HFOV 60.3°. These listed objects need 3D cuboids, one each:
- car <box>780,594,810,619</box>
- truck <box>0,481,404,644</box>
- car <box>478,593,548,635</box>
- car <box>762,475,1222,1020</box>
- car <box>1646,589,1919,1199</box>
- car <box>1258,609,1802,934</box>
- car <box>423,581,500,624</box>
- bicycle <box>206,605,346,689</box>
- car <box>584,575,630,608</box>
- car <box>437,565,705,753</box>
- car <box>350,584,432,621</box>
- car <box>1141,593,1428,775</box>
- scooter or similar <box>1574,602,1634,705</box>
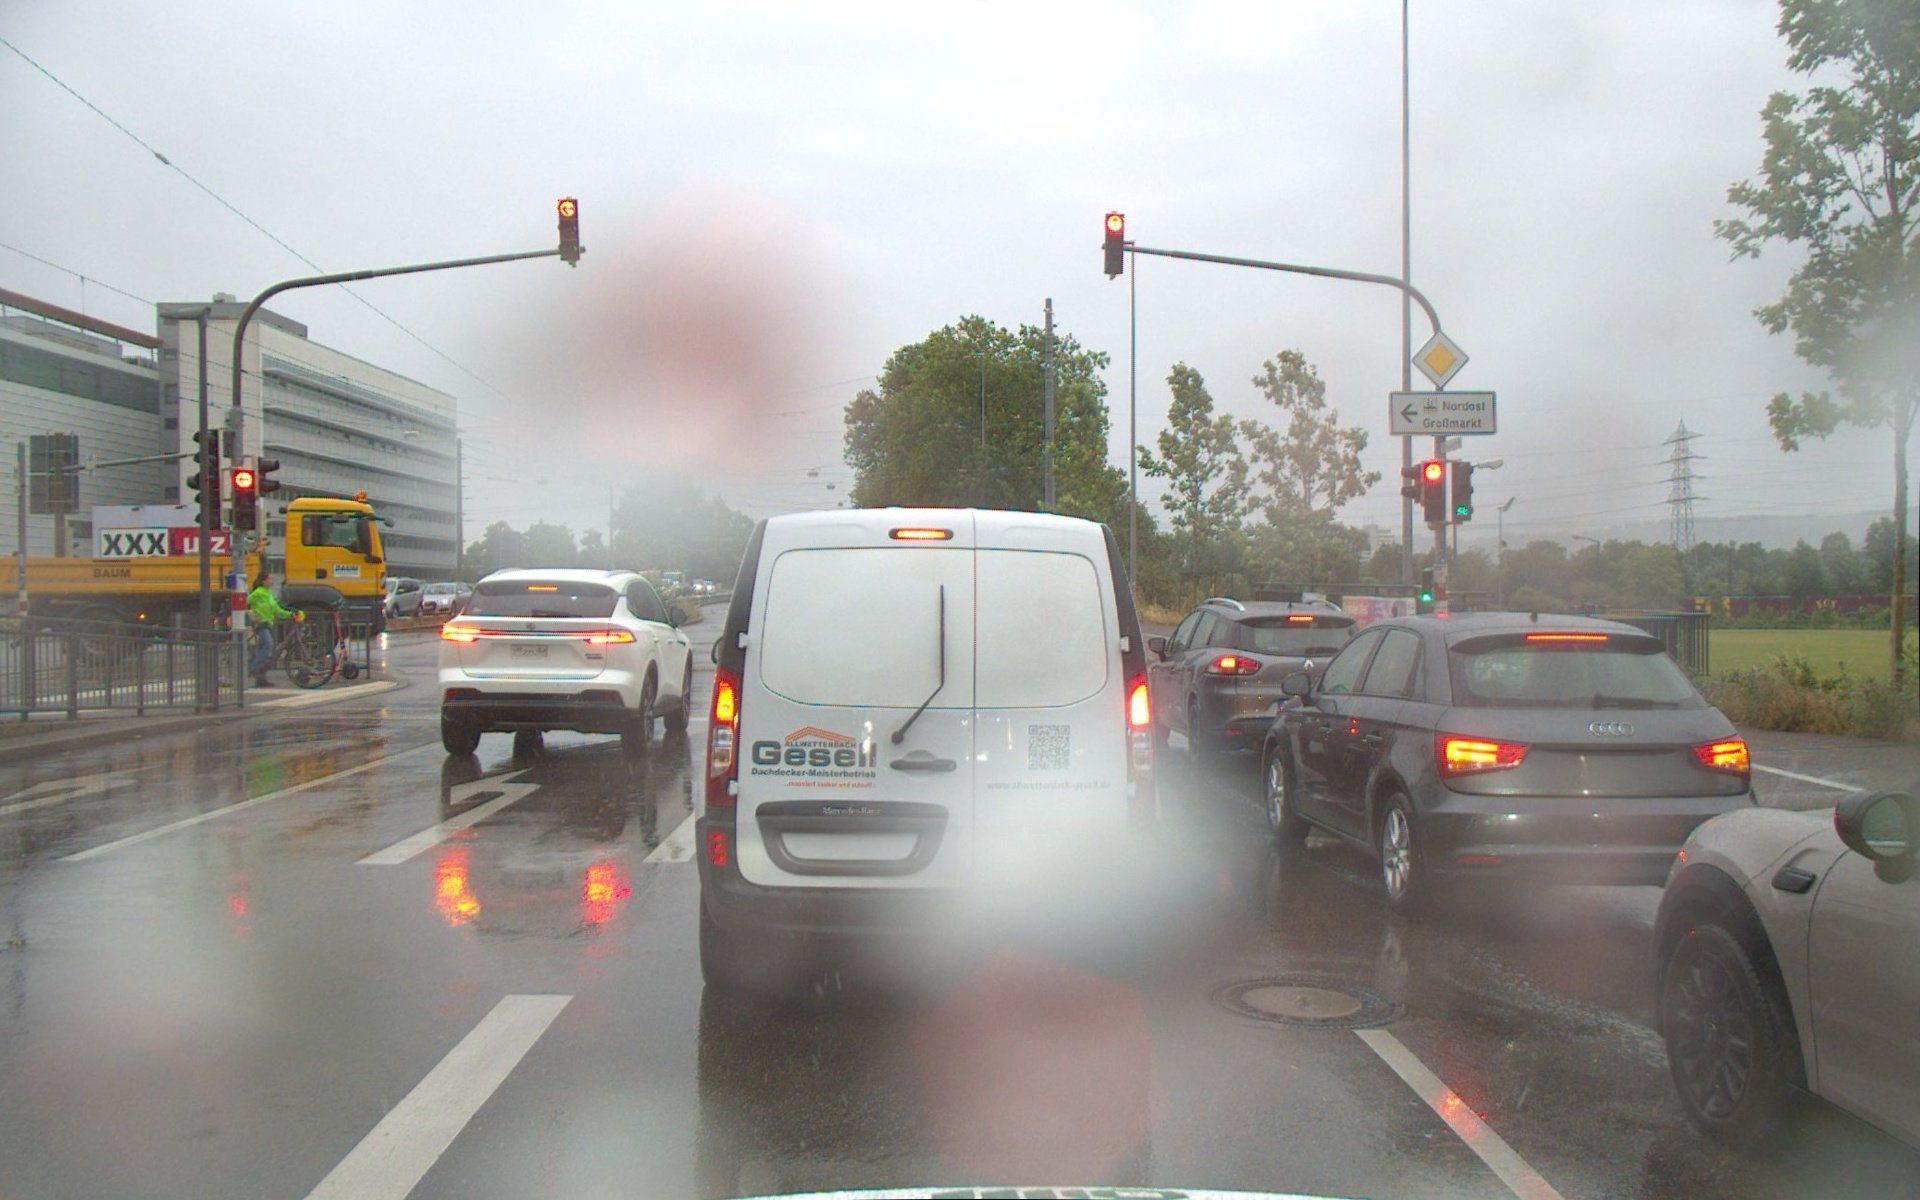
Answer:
[{"bbox_3d":[-10.534,0.387,105.275,1.585,1.530,3.706,1,0,-10],"label":"car"},{"bbox_3d":[-14.476,-0.631,31.797,7.022,2.865,2.623,1,0,-22],"label":"truck"},{"bbox_3d":[-20.801,0.642,77.113,1.889,1.859,4.002,1,0,4],"label":"car"},{"bbox_3d":[0.084,0.499,7.553,1.534,1.819,3.999,0,0,-1],"label":"car"},{"bbox_3d":[2.969,0.759,3.200,1.679,1.534,3.622,1,0,-2],"label":"car"},{"bbox_3d":[2.796,0.755,8.963,1.596,1.368,3.622,1,0,-2],"label":"car"},{"bbox_3d":[-21.058,0.107,70.041,1.853,1.729,4.001,1,0,3],"label":"car"},{"bbox_3d":[-9.620,0.657,23.288,1.716,1.052,0.414,4,-1,-3],"label":"bicycle"},{"bbox_3d":[-22.107,-0.514,103.680,1.952,2.049,4.000,1,0,1],"label":"car"},{"bbox_3d":[-3.604,0.475,16.082,1.694,1.562,4.296,1,1,-2],"label":"car"},{"bbox_3d":[-21.573,0.108,62.815,1.554,1.359,3.832,1,-1,4],"label":"car"},{"bbox_3d":[2.889,0.687,15.550,1.822,1.453,3.806,1,1,-2],"label":"car"},{"bbox_3d":[7.621,0.612,19.594,0.240,1.178,1.186,1,0,1],"label":"scooter or similar"}]
